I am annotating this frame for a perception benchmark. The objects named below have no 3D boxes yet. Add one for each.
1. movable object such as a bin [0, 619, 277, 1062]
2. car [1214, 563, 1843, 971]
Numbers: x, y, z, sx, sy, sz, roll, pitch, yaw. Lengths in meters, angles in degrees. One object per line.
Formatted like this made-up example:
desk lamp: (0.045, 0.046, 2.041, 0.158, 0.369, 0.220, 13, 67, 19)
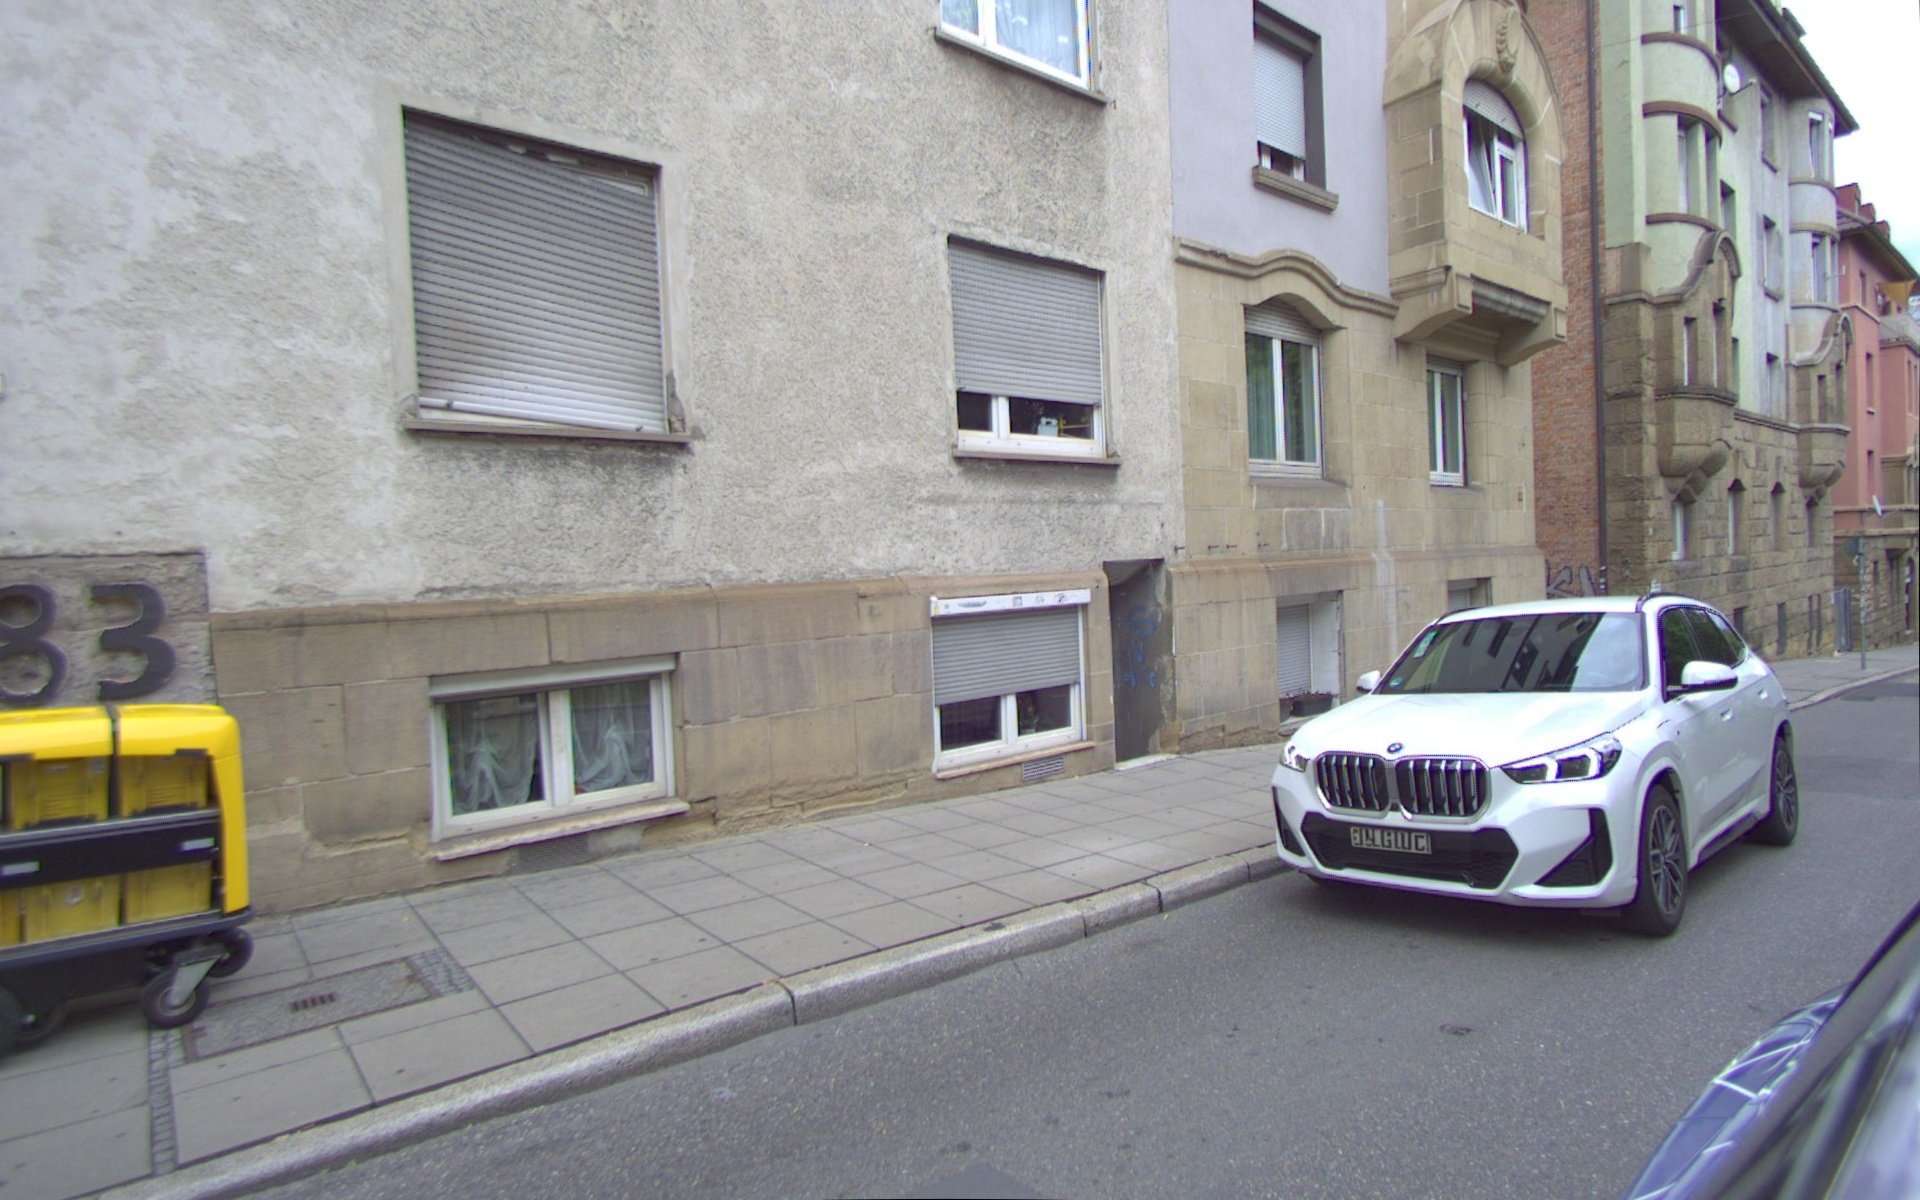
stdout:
movable object such as a bin: (-3.499, 0.825, 3.617, 1.664, 1.438, 0.720, -1, 1, -42)
car: (3.721, 0.736, 6.240, 4.483, 1.626, 1.852, 0, -5, -41)
